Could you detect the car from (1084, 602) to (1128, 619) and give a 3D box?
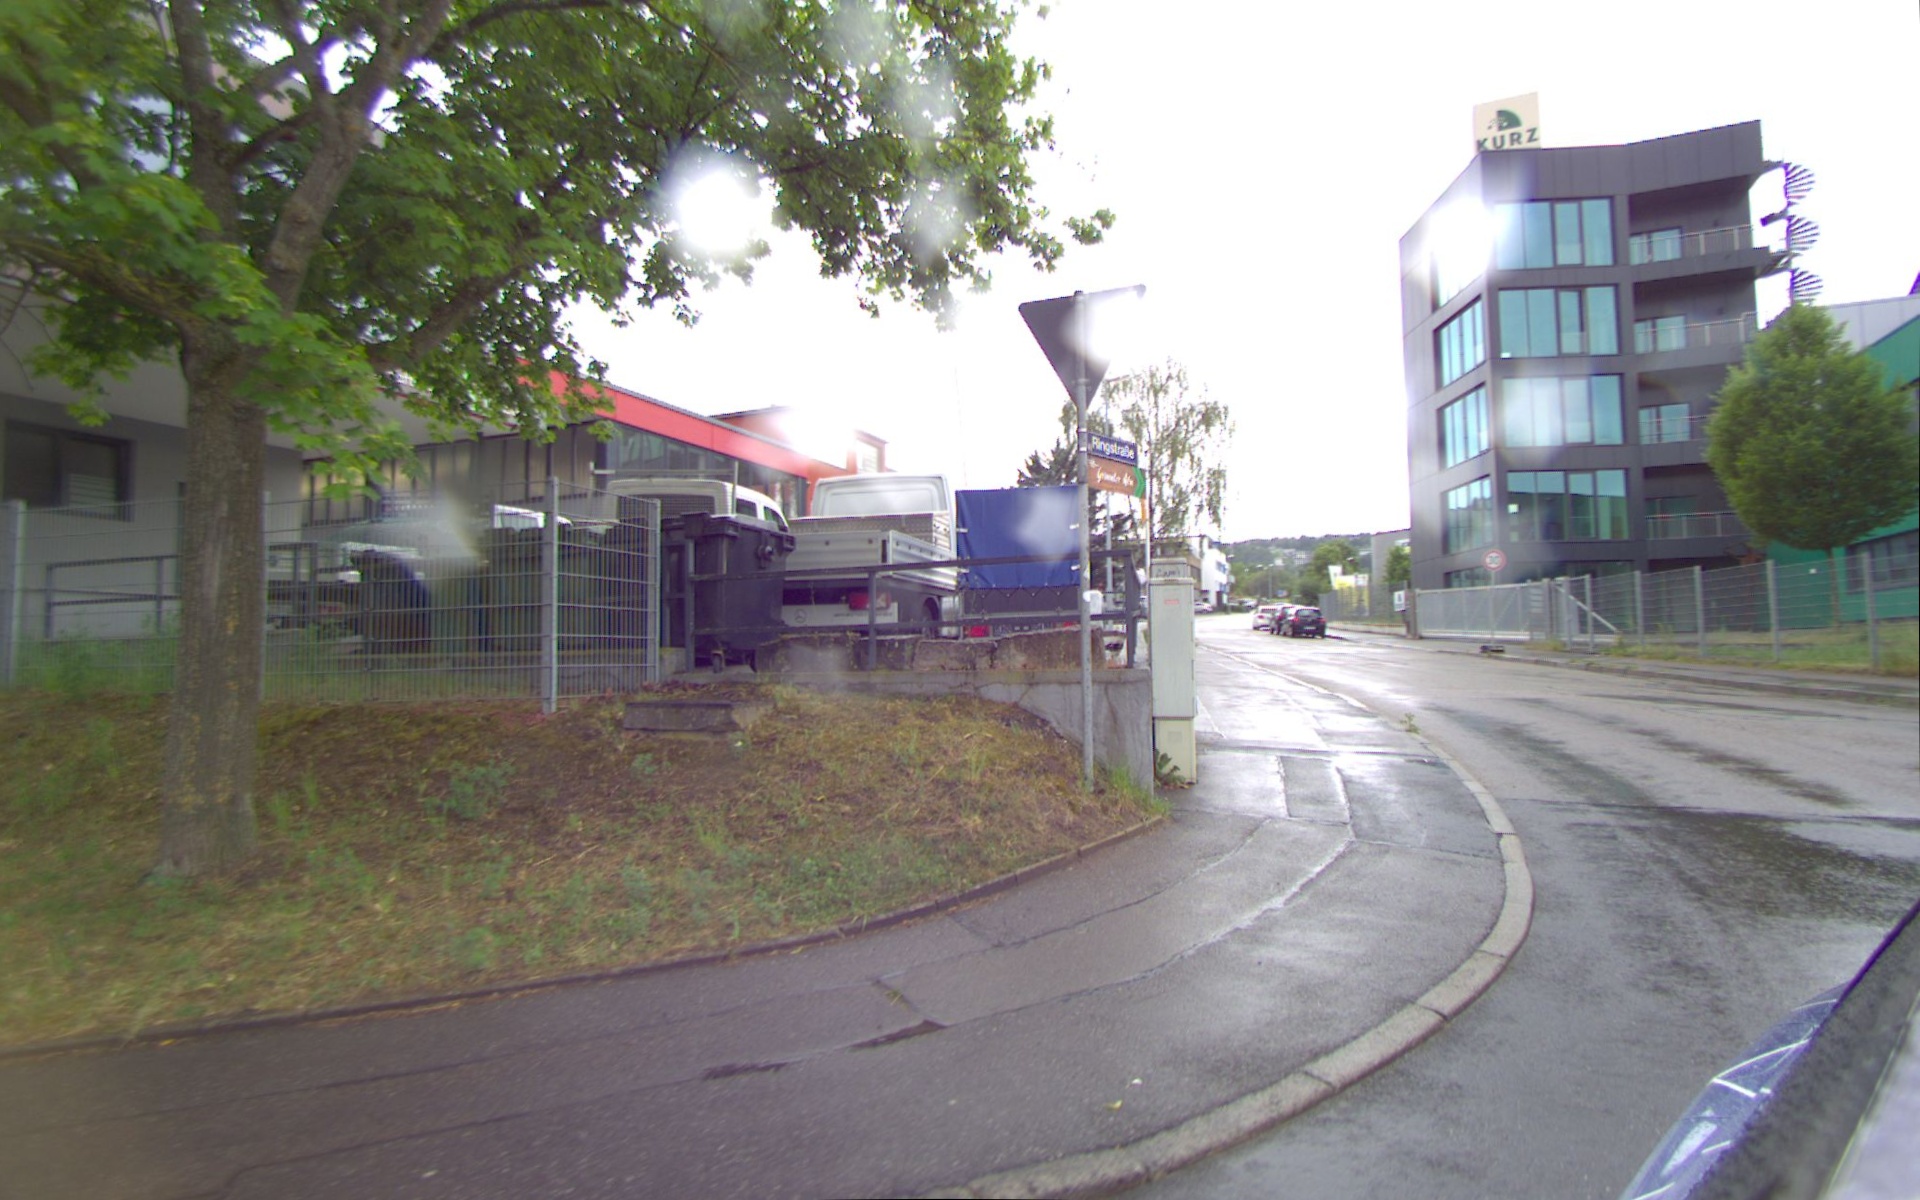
[{"bbox_3d":[13.439,0.975,93.089,3.705,1.560,1.620,-1,-1,21],"label":"car"}]

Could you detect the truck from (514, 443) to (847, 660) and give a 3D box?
[{"bbox_3d":[-3.451,-0.509,13.670,2.218,2.372,4.813,-1,-1,15],"label":"truck"}]

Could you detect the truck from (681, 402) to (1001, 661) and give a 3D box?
[{"bbox_3d":[-0.979,-0.582,11.743,2.079,2.242,5.634,-1,0,11],"label":"truck"}]

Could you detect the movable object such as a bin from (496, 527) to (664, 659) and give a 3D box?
[{"bbox_3d":[-3.249,-0.051,8.695,1.040,1.056,0.878,-1,-1,21],"label":"movable object such as a bin"}]

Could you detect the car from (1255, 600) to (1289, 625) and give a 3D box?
[{"bbox_3d":[20.436,0.775,66.345,1.714,1.555,4.234,-1,0,12],"label":"car"}]

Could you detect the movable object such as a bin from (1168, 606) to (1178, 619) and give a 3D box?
[{"bbox_3d":[17.736,1.062,84.197,0.726,1.104,0.591,-1,-1,17],"label":"movable object such as a bin"}]

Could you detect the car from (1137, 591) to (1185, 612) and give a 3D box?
[{"bbox_3d":[23.288,0.173,117.401,5.101,2.323,2.183,-1,-1,25],"label":"car"}]

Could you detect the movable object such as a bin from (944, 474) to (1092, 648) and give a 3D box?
[{"bbox_3d":[0.580,-0.337,9.829,1.287,1.519,1.856,-1,0,5],"label":"movable object such as a bin"}]

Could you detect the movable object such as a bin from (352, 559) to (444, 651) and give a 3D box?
[{"bbox_3d":[-5.152,0.047,9.289,0.516,0.812,0.536,-1,-1,19],"label":"movable object such as a bin"}]

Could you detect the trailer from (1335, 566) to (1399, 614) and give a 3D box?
[{"bbox_3d":[35.668,-0.836,88.755,2.341,4.141,4.705,0,-1,-29],"label":"trailer"}]

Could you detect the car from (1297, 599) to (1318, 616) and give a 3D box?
[{"bbox_3d":[44.719,0.968,130.334,1.981,2.039,3.960,-1,-1,28],"label":"car"}]

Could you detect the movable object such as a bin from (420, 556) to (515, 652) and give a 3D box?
[{"bbox_3d":[-4.394,0.035,9.041,0.559,0.828,0.536,-1,-1,19],"label":"movable object such as a bin"}]

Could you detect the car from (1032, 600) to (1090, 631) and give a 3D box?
[{"bbox_3d":[6.836,1.051,68.227,3.408,1.519,1.605,-11,-5,24],"label":"car"}]

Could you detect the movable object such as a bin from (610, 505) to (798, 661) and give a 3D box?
[{"bbox_3d":[-2.066,-0.123,8.279,1.127,1.177,1.021,-1,-1,19],"label":"movable object such as a bin"}]

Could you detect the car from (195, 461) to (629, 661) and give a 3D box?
[{"bbox_3d":[-6.606,-0.390,12.998,2.035,2.039,4.911,-1,0,17],"label":"car"}]

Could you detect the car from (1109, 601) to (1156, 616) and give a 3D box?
[{"bbox_3d":[18.349,0.867,107.730,4.573,1.516,1.926,-1,0,23],"label":"car"}]

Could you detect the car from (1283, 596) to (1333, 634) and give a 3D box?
[{"bbox_3d":[17.295,0.718,50.437,1.717,1.820,3.947,-1,0,10],"label":"car"}]

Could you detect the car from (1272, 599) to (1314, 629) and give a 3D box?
[{"bbox_3d":[18.267,0.762,55.646,1.611,1.578,4.071,-1,0,10],"label":"car"}]
